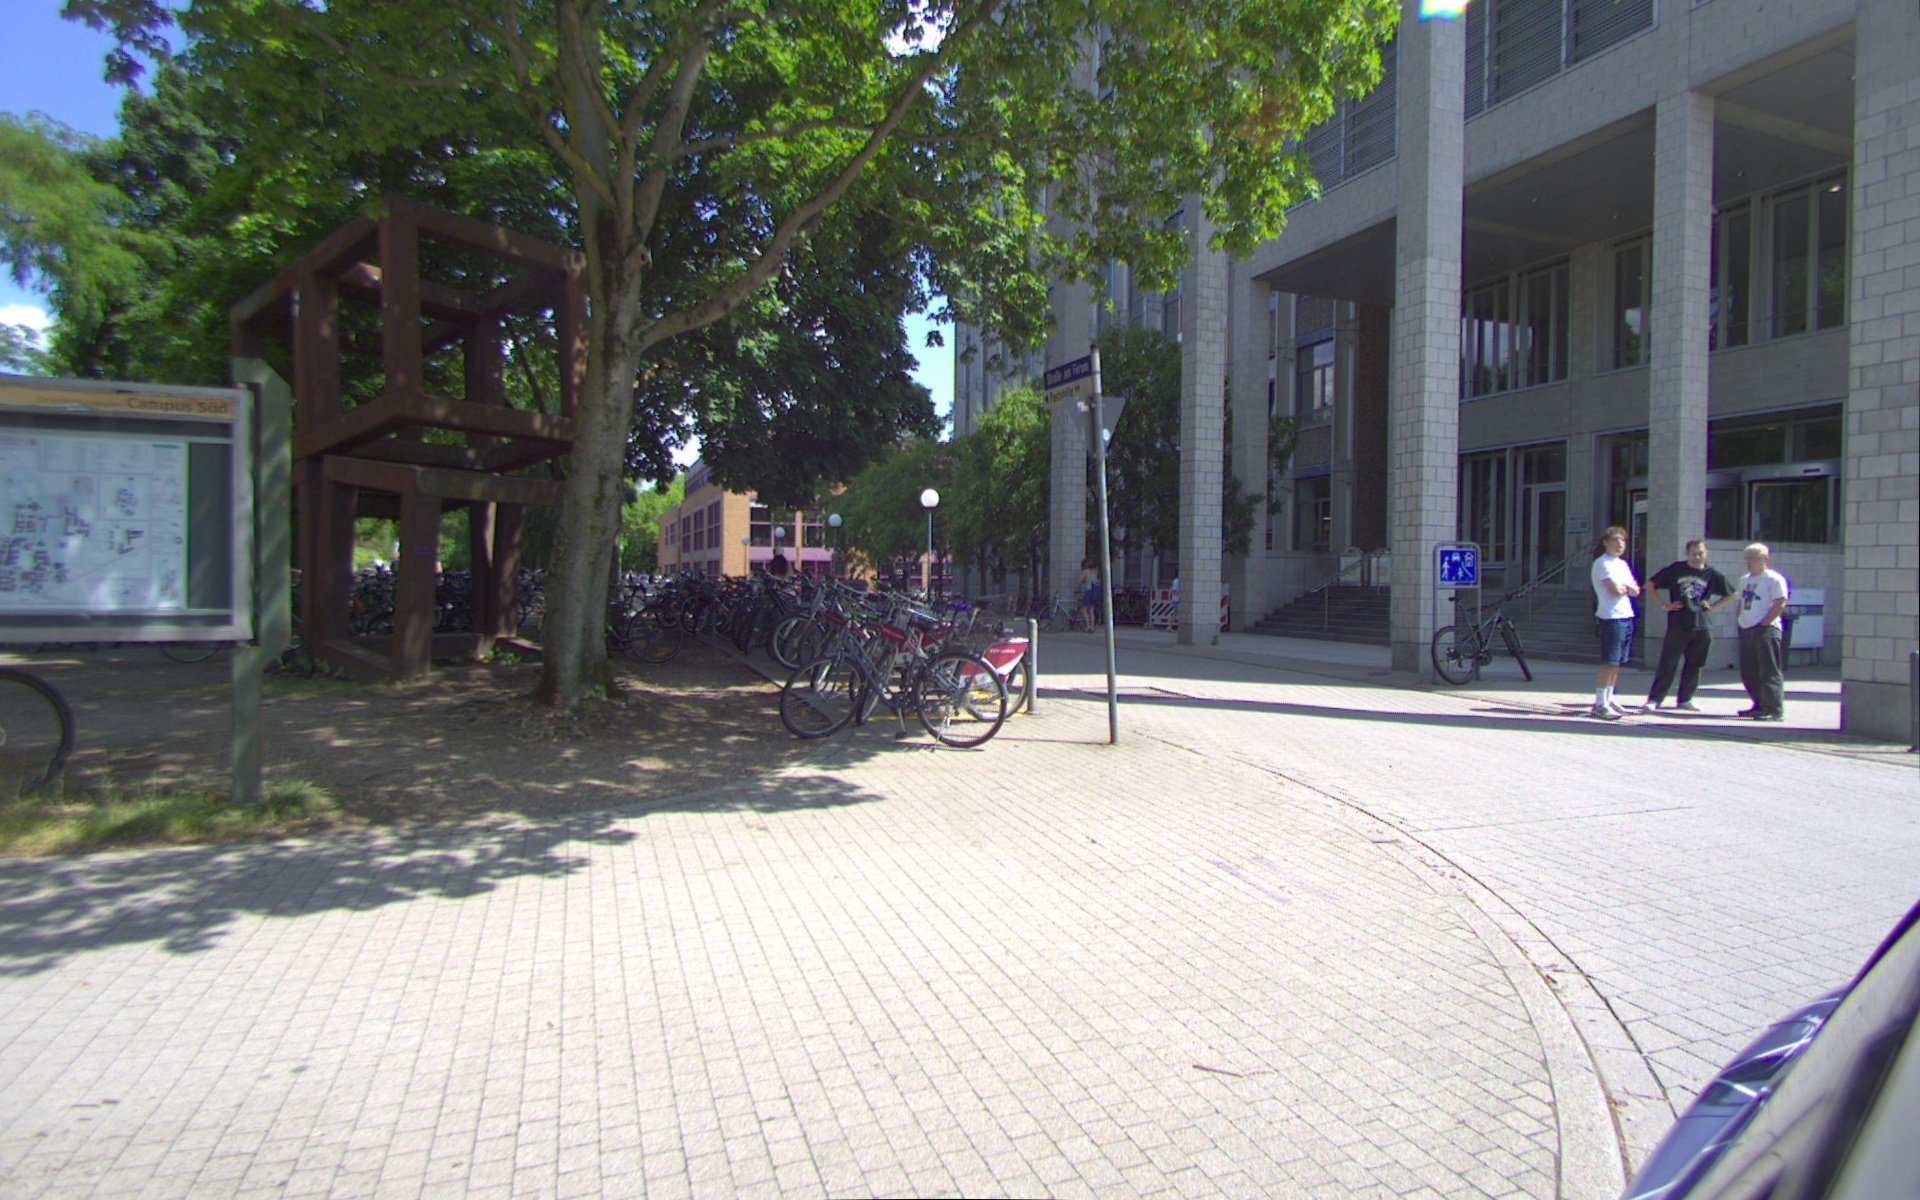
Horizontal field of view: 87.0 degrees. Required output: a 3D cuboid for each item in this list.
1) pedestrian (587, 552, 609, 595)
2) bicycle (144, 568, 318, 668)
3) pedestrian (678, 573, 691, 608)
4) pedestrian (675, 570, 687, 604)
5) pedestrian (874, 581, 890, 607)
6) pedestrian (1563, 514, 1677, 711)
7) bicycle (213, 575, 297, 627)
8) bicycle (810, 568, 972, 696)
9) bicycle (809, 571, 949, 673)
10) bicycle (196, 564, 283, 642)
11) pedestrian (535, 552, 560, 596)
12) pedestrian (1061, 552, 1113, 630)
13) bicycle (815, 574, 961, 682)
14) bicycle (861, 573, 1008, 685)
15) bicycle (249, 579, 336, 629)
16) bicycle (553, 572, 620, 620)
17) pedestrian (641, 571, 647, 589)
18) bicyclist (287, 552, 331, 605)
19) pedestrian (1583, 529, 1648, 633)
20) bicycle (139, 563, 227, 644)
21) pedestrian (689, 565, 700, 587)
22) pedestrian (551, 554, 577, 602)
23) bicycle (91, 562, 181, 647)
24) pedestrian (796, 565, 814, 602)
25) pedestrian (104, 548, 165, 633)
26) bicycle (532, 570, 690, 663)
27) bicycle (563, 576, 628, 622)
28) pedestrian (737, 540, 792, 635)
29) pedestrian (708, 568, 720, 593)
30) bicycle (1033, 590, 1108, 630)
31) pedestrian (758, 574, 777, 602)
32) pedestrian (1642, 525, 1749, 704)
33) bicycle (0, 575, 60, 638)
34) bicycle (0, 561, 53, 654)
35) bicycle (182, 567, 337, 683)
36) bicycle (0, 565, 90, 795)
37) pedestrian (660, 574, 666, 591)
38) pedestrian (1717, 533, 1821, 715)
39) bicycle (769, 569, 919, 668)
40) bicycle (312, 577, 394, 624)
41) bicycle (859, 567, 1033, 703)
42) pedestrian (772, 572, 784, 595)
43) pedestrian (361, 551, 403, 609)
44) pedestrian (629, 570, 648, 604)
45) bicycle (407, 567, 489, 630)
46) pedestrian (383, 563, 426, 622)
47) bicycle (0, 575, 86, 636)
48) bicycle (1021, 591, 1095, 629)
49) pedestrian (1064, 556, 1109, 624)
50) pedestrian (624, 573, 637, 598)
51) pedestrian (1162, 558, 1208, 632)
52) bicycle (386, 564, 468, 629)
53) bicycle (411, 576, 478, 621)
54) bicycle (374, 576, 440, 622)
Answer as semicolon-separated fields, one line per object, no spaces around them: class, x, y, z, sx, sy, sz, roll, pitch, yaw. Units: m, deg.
pedestrian;-13.811;-1.006;38.623;0.729;1.589;0.722;1;1;-13
bicycle;-8.855;0.177;12.362;0.472;1.123;1.652;0;2;31
pedestrian;-12.392;-0.429;45.502;0.504;1.530;0.693;1;3;-19
pedestrian;-15.222;-0.695;55.141;0.553;1.784;0.806;1;3;-19
pedestrian;-5.653;-0.450;73.466;0.957;1.784;0.744;2;3;5
pedestrian;6.703;0.112;10.289;0.672;1.914;0.688;-1;0;-24
bicycle;-14.086;0.004;20.209;1.883;0.991;0.475;1;2;25
bicycle;-0.667;0.298;9.854;1.497;1.155;0.492;2;2;-2
bicycle;-0.927;0.252;11.556;1.483;1.099;0.483;2;2;-16
bicycle;-11.402;0.022;16.005;1.829;1.185;0.409;1;1;30
pedestrian;-15.070;-0.947;37.019;0.729;1.589;0.722;1;1;-13
pedestrian;2.937;-0.212;23.371;0.736;1.762;0.936;-1;1;-40
bicycle;-0.765;0.299;10.801;1.443;1.099;0.462;1;2;-20
bicycle;-0.260;0.297;10.490;1.410;1.099;0.462;1;2;-24
bicycle;-13.887;0.074;21.049;1.879;0.991;0.476;1;2;20
bicycle;-8.729;-0.104;23.679;1.441;1.097;0.353;0;1;-25
pedestrian;-31.719;-2.011;101.503;0.553;1.784;0.806;1;3;-16
bicyclist;-18.515;-0.614;28.803;0.737;1.464;0.796;1;1;26
pedestrian;11.301;-0.333;17.457;0.671;1.756;0.691;0;1;-25
bicycle;-11.918;0.029;15.507;1.829;1.185;0.409;1;1;30
pedestrian;-22.797;-2.072;86.942;0.728;1.784;0.977;1;3;-22
pedestrian;-13.440;-0.741;34.352;0.729;1.589;0.722;1;1;-13
bicycle;-12.069;0.039;14.815;1.829;1.185;0.409;1;1;30
pedestrian;-7.941;-0.854;51.973;0.730;1.784;0.975;2;3;0
pedestrian;-17.671;-0.209;21.677;0.731;1.797;0.720;1;1;2
bicycle;-4.303;0.202;12.578;1.789;1.091;0.465;2;2;-13
bicycle;-8.889;-0.023;24.702;1.443;1.097;0.353;-1;1;-34
pedestrian;-3.623;-0.224;18.767;0.925;1.725;0.428;0;-1;-26
pedestrian;-18.433;-1.478;75.892;0.728;1.784;0.977;1;3;-22
bicycle;2.606;0.227;23.832;1.739;0.911;0.338;-1;0;-16
pedestrian;-11.212;-0.715;58.976;0.718;1.530;1.203;2;3;11
pedestrian;7.790;0.140;10.758;0.801;1.819;0.615;0;1;25
bicycle;-15.914;0.092;17.009;1.884;0.991;0.474;1;2;26
bicycle;-12.637;0.075;13.476;1.831;1.185;0.349;1;1;33
bicycle;-7.353;0.227;10.593;1.910;1.123;0.625;0;2;33
bicycle;-5.214;0.425;4.730;1.661;1.097;0.627;-4;2;-45
pedestrian;-32.203;-1.944;109.658;0.553;1.784;0.806;1;3;-16
pedestrian;8.063;0.221;10.098;0.531;1.751;0.615;-1;1;-20
bicycle;-1.366;0.215;11.913;1.660;1.099;0.483;2;2;-16
bicycle;-13.457;0.000;22.441;1.879;0.991;0.476;1;2;20
bicycle;-0.124;0.308;9.271;1.458;1.155;0.563;1;2;-24
pedestrian;-12.372;-1.134;68.730;0.677;1.530;0.516;0;3;-23
pedestrian;-15.972;-0.558;27.968;0.734;1.589;0.717;1;1;16
pedestrian;-14.909;-0.608;46.925;0.684;1.530;0.511;3;3;25
bicycle;-9.907;-0.040;19.563;1.825;1.185;0.343;1;1;24
pedestrian;-15.187;-0.210;27.671;0.735;1.589;0.716;1;1;20
bicycle;-15.760;0.077;17.346;1.884;0.991;0.474;1;2;26
bicycle;2.375;0.238;24.641;1.742;0.911;0.449;1;0;-3
pedestrian;3.361;-0.267;26.833;0.736;1.762;0.936;-1;1;-40
pedestrian;-20.291;-0.888;62.372;0.677;1.530;0.516;0;3;-23
pedestrian;5.433;-0.129;24.501;0.733;1.762;0.939;-1;0;-13
bicycle;-10.167;-0.081;19.301;1.825;1.185;0.343;1;1;24
bicycle;-12.513;-0.028;24.571;1.449;1.098;0.477;0;-2;12
bicycle;-12.837;-0.043;23.463;1.889;0.991;0.473;2;2;32
